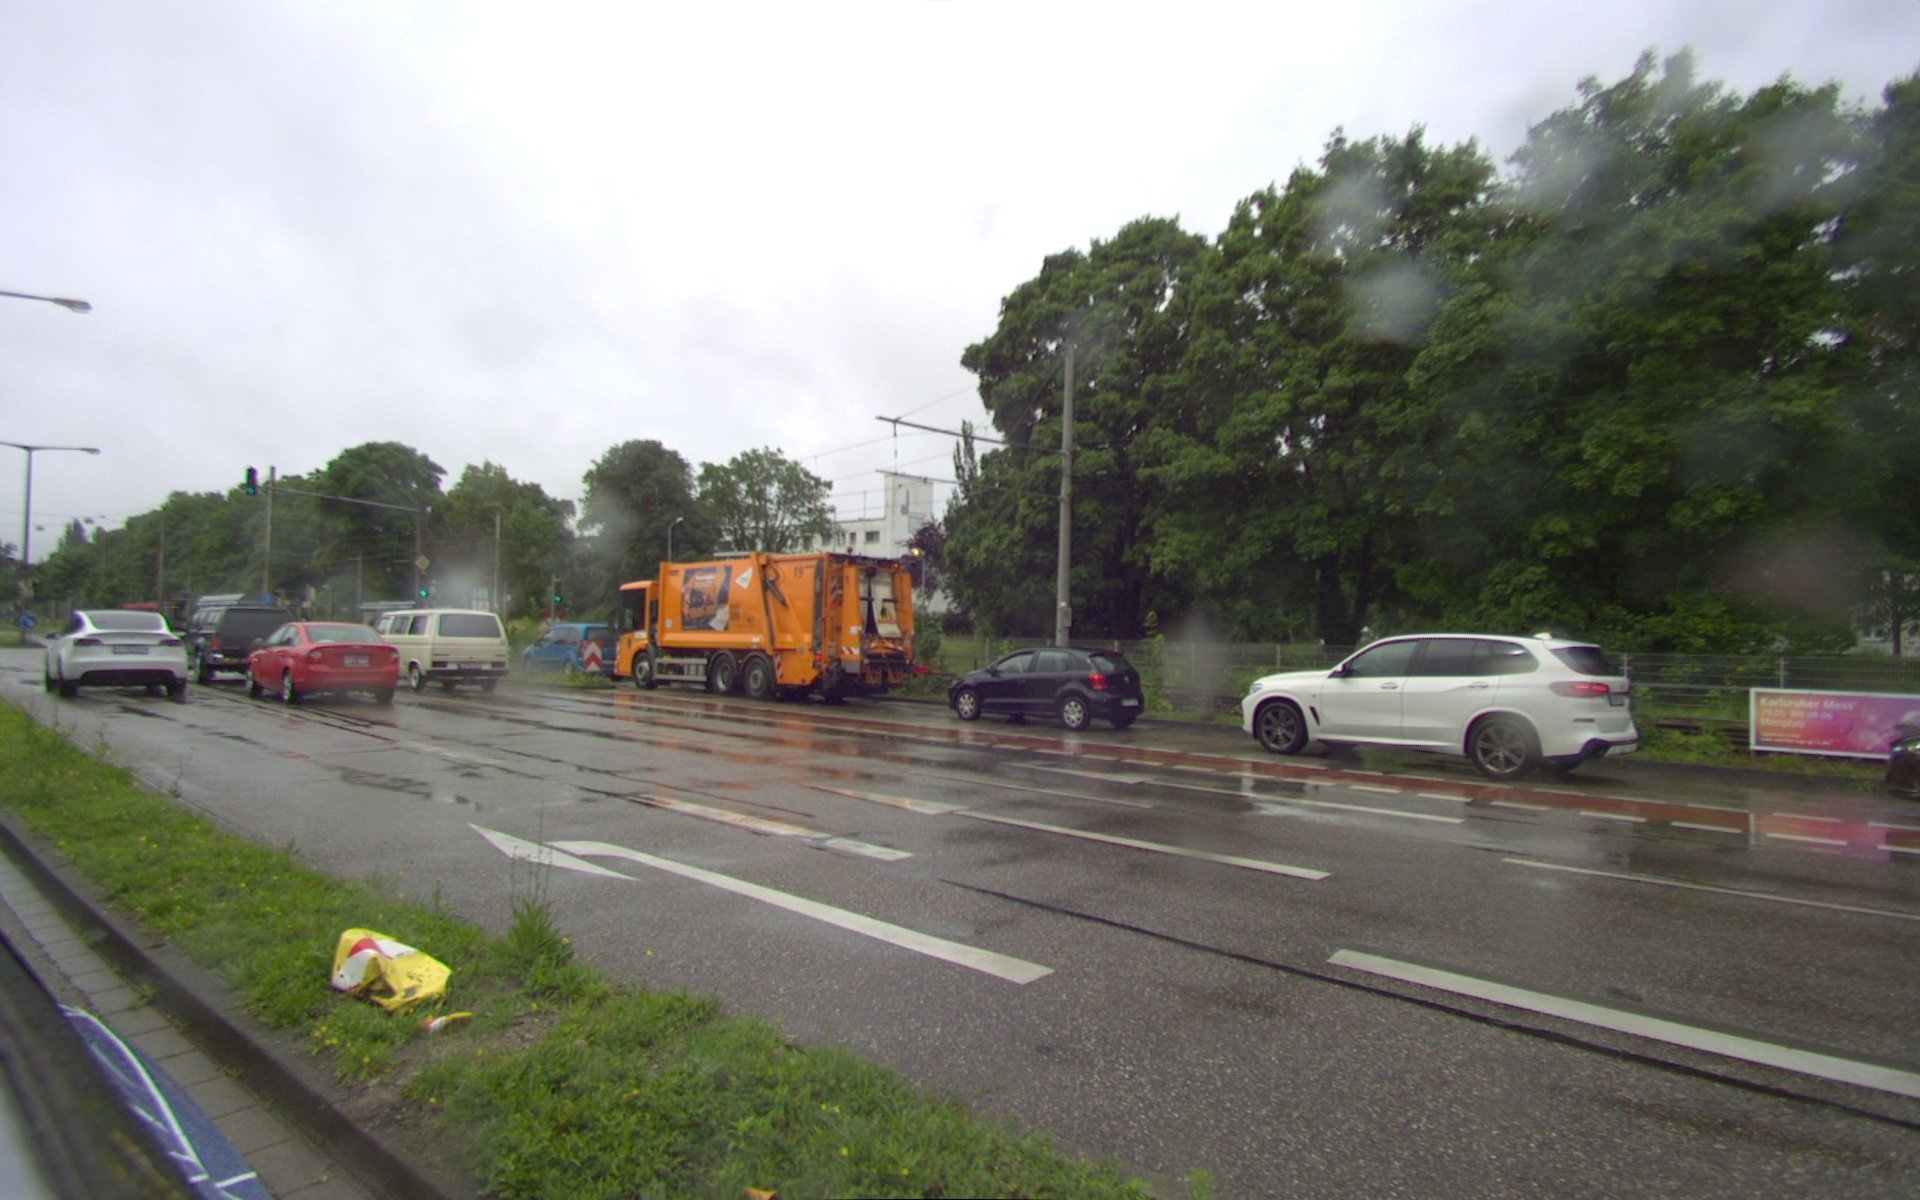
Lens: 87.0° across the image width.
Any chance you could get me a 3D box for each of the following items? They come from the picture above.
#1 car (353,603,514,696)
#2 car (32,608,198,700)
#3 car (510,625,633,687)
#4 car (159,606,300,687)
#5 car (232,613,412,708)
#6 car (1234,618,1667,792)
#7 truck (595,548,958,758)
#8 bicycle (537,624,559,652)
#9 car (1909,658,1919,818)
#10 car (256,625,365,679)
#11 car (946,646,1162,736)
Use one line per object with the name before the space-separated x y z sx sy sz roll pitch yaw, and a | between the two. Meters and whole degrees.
car | -12.723 1.172 24.339 4.743 2.033 1.908 -1 -4 43
car | -16.960 1.035 20.232 4.697 1.629 1.939 -1 -3 43
car | -12.402 1.705 32.152 4.528 1.722 1.971 0 0 44
car | -18.031 1.116 24.869 5.089 1.787 1.786 -1 -4 43
car | -12.453 1.114 19.628 4.428 1.581 1.781 0 -3 43
car | 6.285 1.236 13.456 1.969 1.841 4.778 5 -3 -41
truck | -4.964 1.080 25.035 10.408 4.199 3.348 0 0 43
bicycle | -26.548 2.454 65.185 1.735 1.774 0.632 -1 -3 45
car | 11.031 1.285 8.228 1.846 1.497 4.519 2 -3 -34
car | -19.411 1.533 30.202 3.998 1.438 1.624 0 -4 41
car | 1.639 1.593 18.381 3.686 1.389 1.570 -1 -5 43
